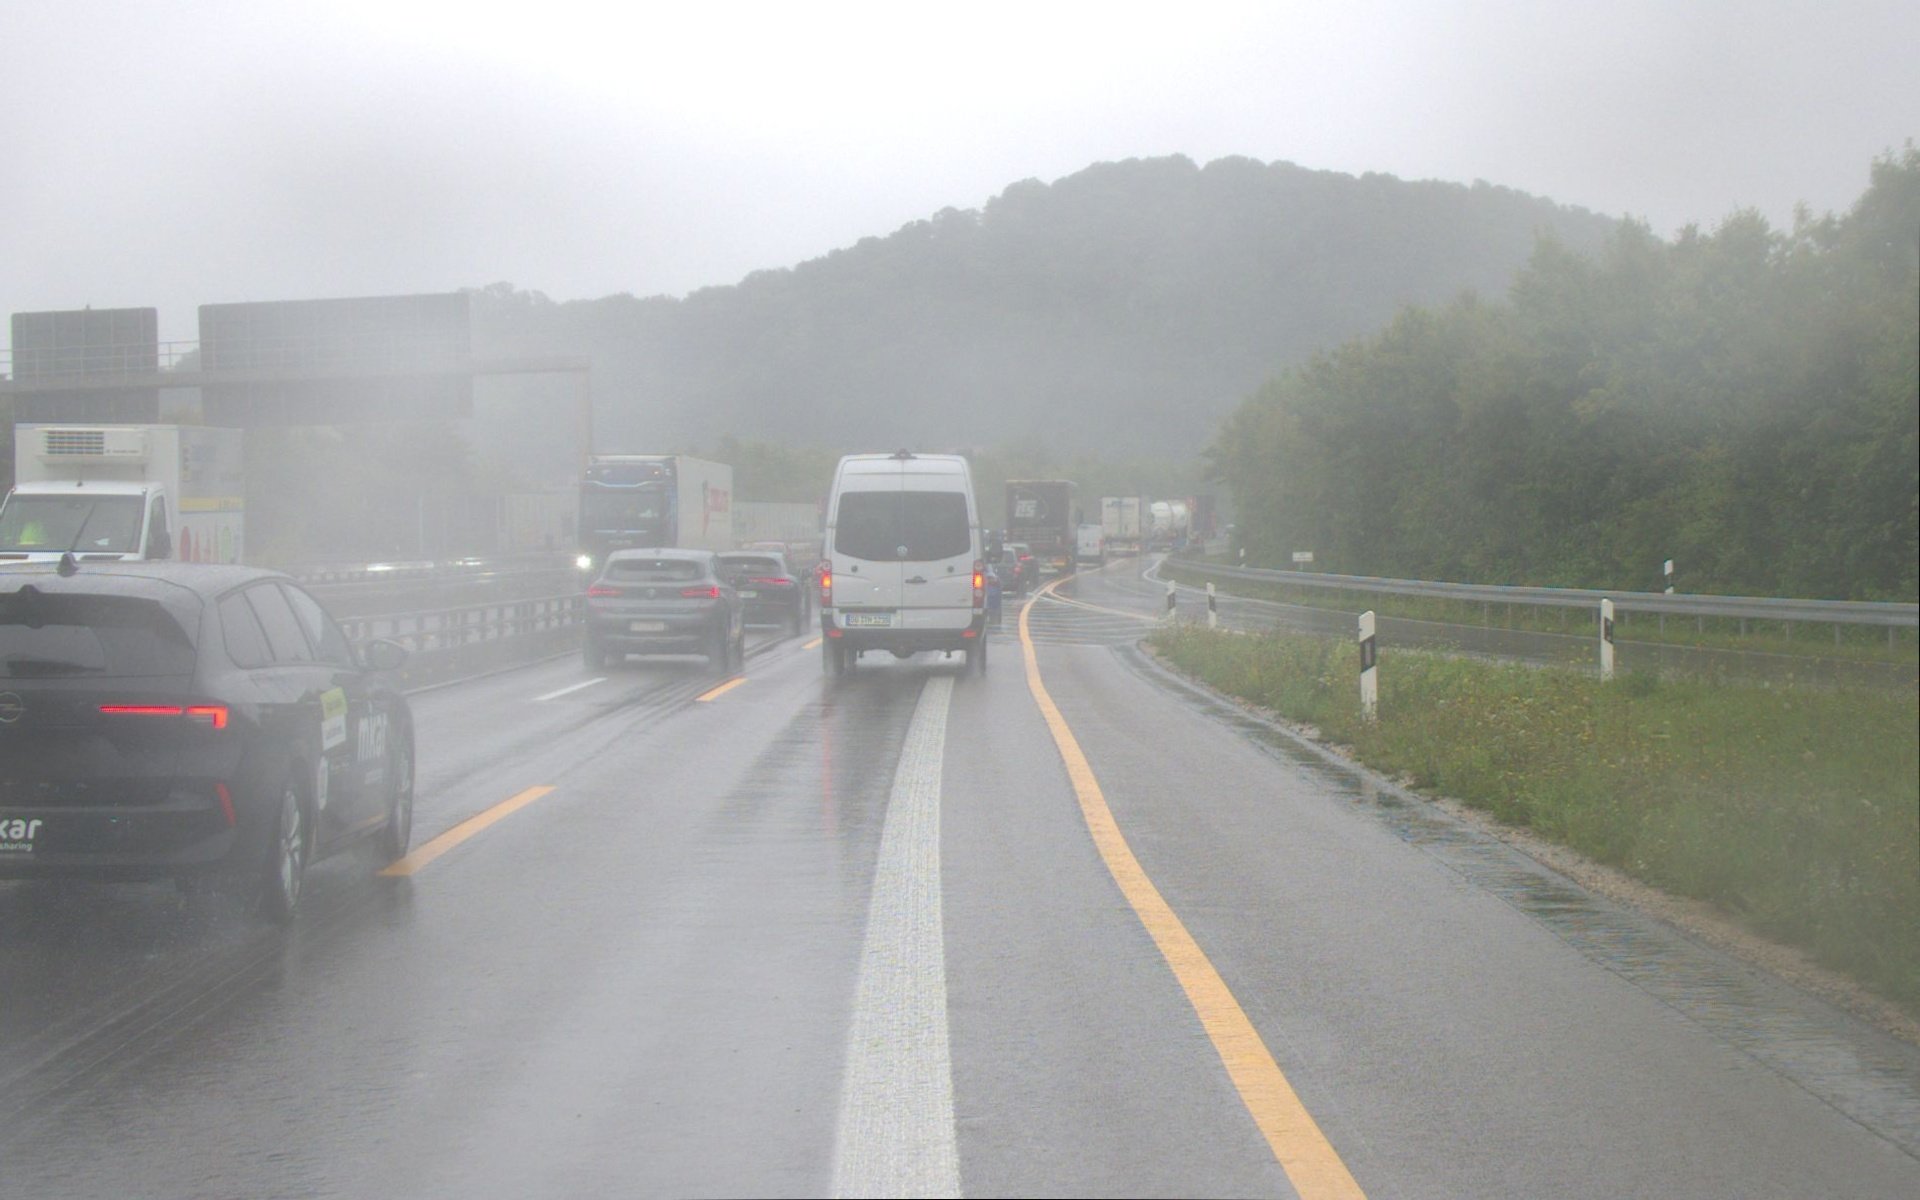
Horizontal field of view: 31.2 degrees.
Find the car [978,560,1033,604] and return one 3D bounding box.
[{"bbox_3d":[1.310,-0.539,100.237,1.384,1.252,3.123,0,1,-3],"label":"car"}]

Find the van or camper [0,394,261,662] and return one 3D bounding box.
[{"bbox_3d":[-10.503,-0.852,42.730,2.293,3.031,6.699,1,0,-1],"label":"van or camper"}]

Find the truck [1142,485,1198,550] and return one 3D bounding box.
[{"bbox_3d":[16.187,-6.297,264.121,3.929,4.768,9.905,1,0,5],"label":"truck"}]

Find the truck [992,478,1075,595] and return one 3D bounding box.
[{"bbox_3d":[3.083,-2.645,146.523,3.320,4.768,9.907,1,0,1],"label":"truck"}]

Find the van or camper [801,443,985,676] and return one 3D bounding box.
[{"bbox_3d":[-0.781,-0.501,42.397,2.139,2.712,4.648,0,1,0],"label":"van or camper"}]

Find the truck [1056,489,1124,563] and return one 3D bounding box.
[{"bbox_3d":[6.970,-3.932,185.690,3.320,3.749,9.907,1,0,1],"label":"truck"}]

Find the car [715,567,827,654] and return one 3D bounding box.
[{"bbox_3d":[-3.361,0.167,61.667,1.852,1.495,4.000,0,1,-1],"label":"car"}]

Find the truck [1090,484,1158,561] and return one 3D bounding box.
[{"bbox_3d":[10.761,-5.022,224.275,3.929,4.768,9.905,1,0,5],"label":"truck"}]

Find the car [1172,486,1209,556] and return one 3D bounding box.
[{"bbox_3d":[13.918,-4.752,207.999,2.058,4.177,6.745,0,1,3],"label":"car"}]

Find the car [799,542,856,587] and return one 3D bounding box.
[{"bbox_3d":[-3.238,-0.869,84.621,1.262,1.074,3.254,0,1,0],"label":"car"}]

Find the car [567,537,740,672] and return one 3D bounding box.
[{"bbox_3d":[-3.890,0.028,44.179,1.867,1.653,3.988,0,1,0],"label":"car"}]

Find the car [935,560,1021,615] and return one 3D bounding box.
[{"bbox_3d":[0.344,-0.259,68.403,1.384,1.074,3.123,0,1,-6],"label":"car"}]

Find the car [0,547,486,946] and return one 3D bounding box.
[{"bbox_3d":[-3.271,0.498,14.751,1.938,1.422,4.760,1,1,-2],"label":"car"}]

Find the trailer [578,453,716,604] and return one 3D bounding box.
[{"bbox_3d":[-9.315,-2.055,103.777,2.893,4.271,12.895,0,0,0],"label":"trailer"}]

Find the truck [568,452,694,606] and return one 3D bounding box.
[{"bbox_3d":[-9.326,-1.977,98.017,2.889,4.217,6.326,0,0,1],"label":"truck"}]
